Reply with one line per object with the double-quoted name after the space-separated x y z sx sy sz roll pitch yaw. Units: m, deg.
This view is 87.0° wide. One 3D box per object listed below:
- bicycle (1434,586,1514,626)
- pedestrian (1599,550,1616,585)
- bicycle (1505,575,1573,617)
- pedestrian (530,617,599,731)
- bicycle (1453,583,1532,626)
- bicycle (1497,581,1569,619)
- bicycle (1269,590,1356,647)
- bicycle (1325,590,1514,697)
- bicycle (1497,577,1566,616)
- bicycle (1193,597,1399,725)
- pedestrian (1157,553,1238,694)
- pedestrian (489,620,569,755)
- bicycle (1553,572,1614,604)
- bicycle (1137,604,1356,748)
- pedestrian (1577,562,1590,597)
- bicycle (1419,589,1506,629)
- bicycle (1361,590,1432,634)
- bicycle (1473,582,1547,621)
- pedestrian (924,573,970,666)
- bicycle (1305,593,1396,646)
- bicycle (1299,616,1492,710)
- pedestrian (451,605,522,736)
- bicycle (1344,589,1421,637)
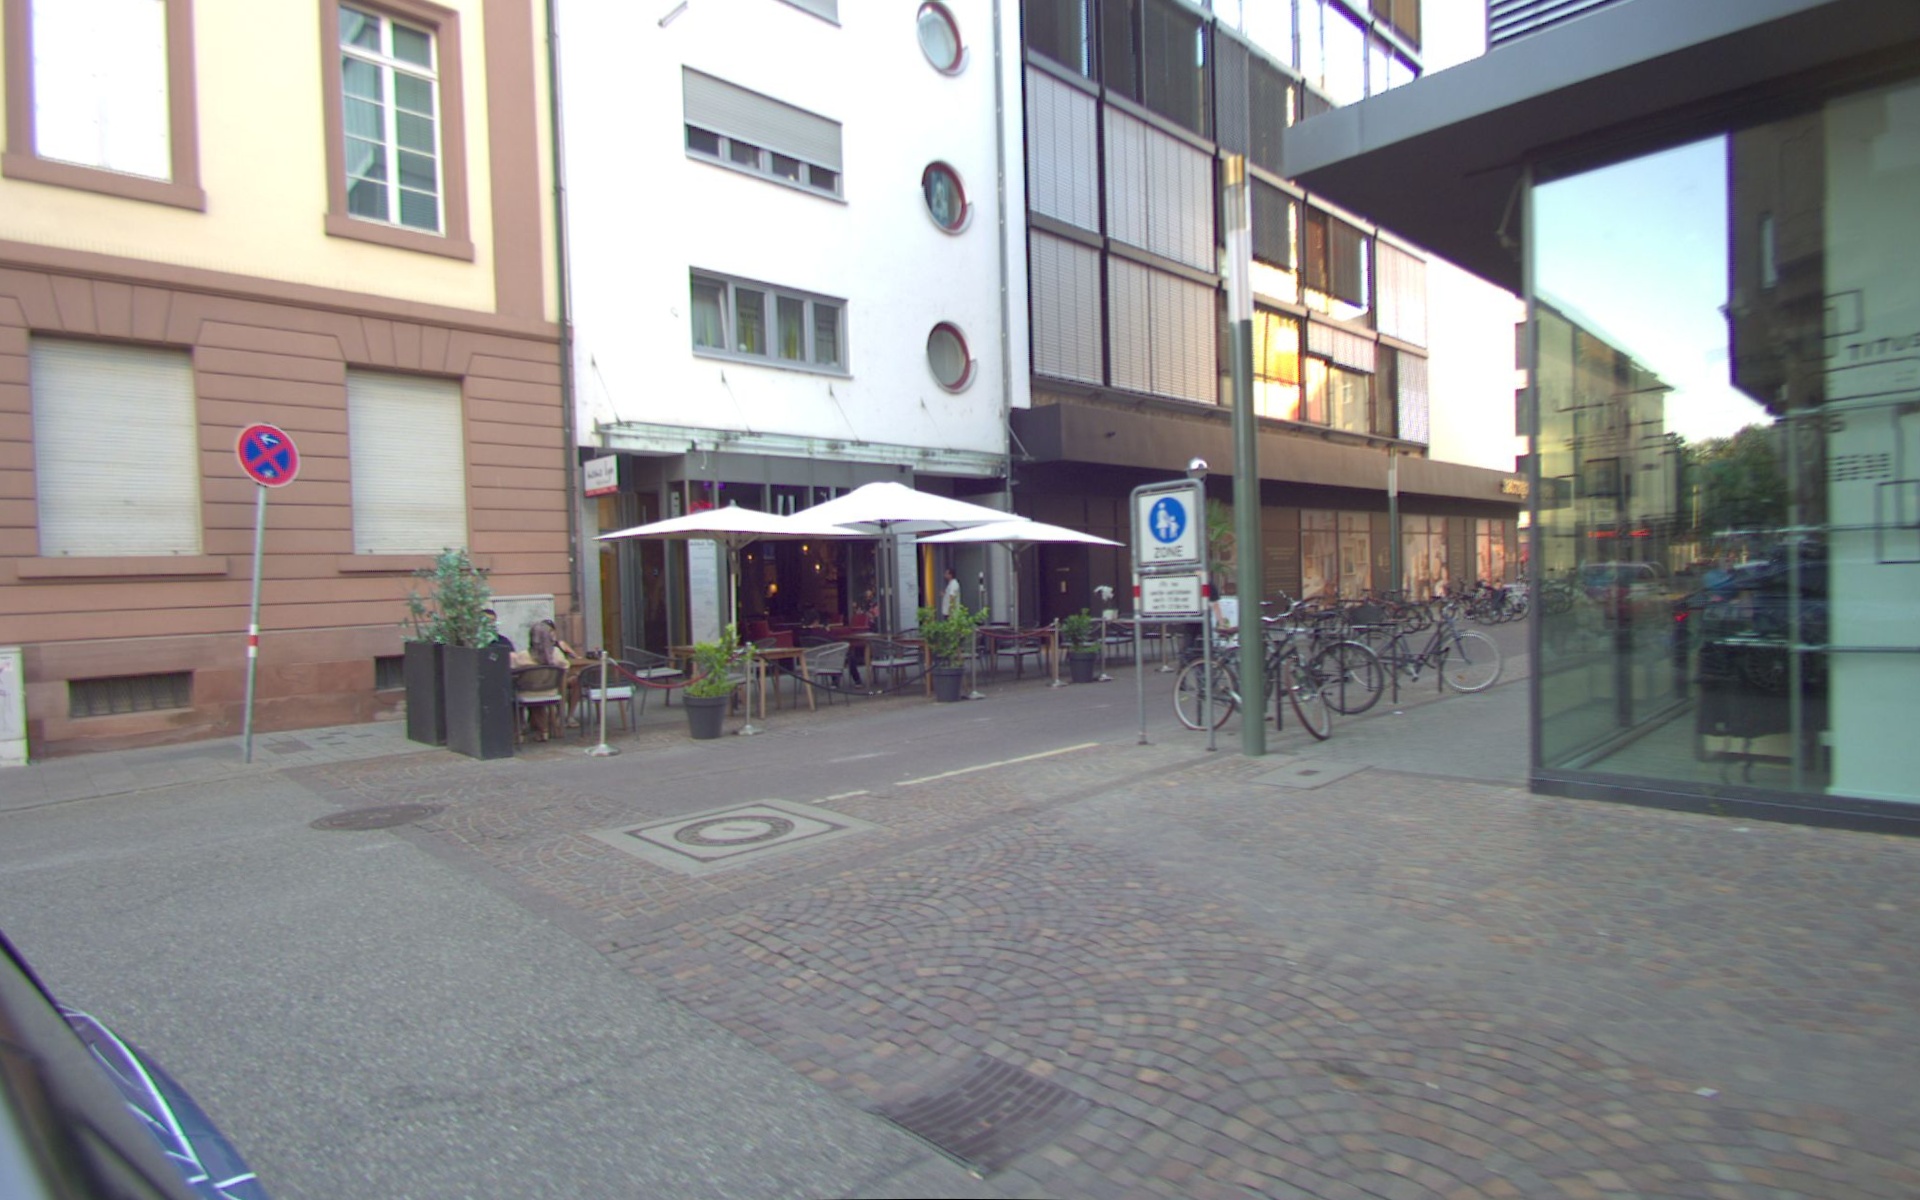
13.638 0.171 26.873 1.796 1.016 0.523 -1 1 45 "bicycle"
29.580 -1.496 46.207 0.470 1.584 0.380 -2 0 -5 "pedestrian"
17.868 -0.108 31.233 1.734 1.238 0.459 -1 1 45 "bicycle"
-4.459 0.815 11.402 0.541 1.220 0.525 -2 1 -42 "pedestrian"
14.668 0.136 27.886 1.850 1.144 0.459 -1 1 45 "bicycle"
16.641 0.005 29.425 1.734 1.059 0.459 -1 1 45 "bicycle"
7.111 0.375 20.465 1.543 1.093 0.541 -1 1 45 "bicycle"
5.373 0.507 11.925 1.912 1.153 0.549 -3 0 45 "bicycle"
17.278 -0.093 30.635 1.734 1.154 0.459 -1 1 45 "bicycle"
3.332 0.599 10.182 1.842 1.159 0.601 -3 -1 45 "bicycle"
3.181 0.300 13.528 0.738 1.798 0.958 -2 0 33 "pedestrian"
-4.121 0.810 9.679 0.553 1.221 0.462 -2 1 -42 "pedestrian"
21.927 -0.402 35.609 1.734 1.069 0.431 -1 1 45 "bicycle"
2.478 0.645 8.894 1.674 1.121 0.699 -3 -1 45 "bicycle"
28.611 -0.947 46.451 0.476 1.563 0.430 -2 0 30 "pedestrian"
12.861 0.241 25.956 1.946 0.964 0.459 -1 1 45 "bicycle"
10.437 0.294 24.225 1.456 1.013 0.459 -1 1 45 "bicycle"
15.607 0.055 28.744 1.778 1.059 0.459 -1 1 45 "bicycle"
-0.229 0.349 18.578 0.619 1.678 0.666 -2 0 18 "pedestrian"
8.448 0.418 21.944 1.729 1.100 0.541 -1 1 45 "bicycle"
4.557 0.658 10.689 1.794 0.902 0.447 -3 -1 45 "bicycle"
-5.120 0.742 10.945 0.541 1.359 0.489 -2 1 -42 "pedestrian"
9.671 0.296 23.189 1.557 1.044 0.459 -1 1 45 "bicycle"
